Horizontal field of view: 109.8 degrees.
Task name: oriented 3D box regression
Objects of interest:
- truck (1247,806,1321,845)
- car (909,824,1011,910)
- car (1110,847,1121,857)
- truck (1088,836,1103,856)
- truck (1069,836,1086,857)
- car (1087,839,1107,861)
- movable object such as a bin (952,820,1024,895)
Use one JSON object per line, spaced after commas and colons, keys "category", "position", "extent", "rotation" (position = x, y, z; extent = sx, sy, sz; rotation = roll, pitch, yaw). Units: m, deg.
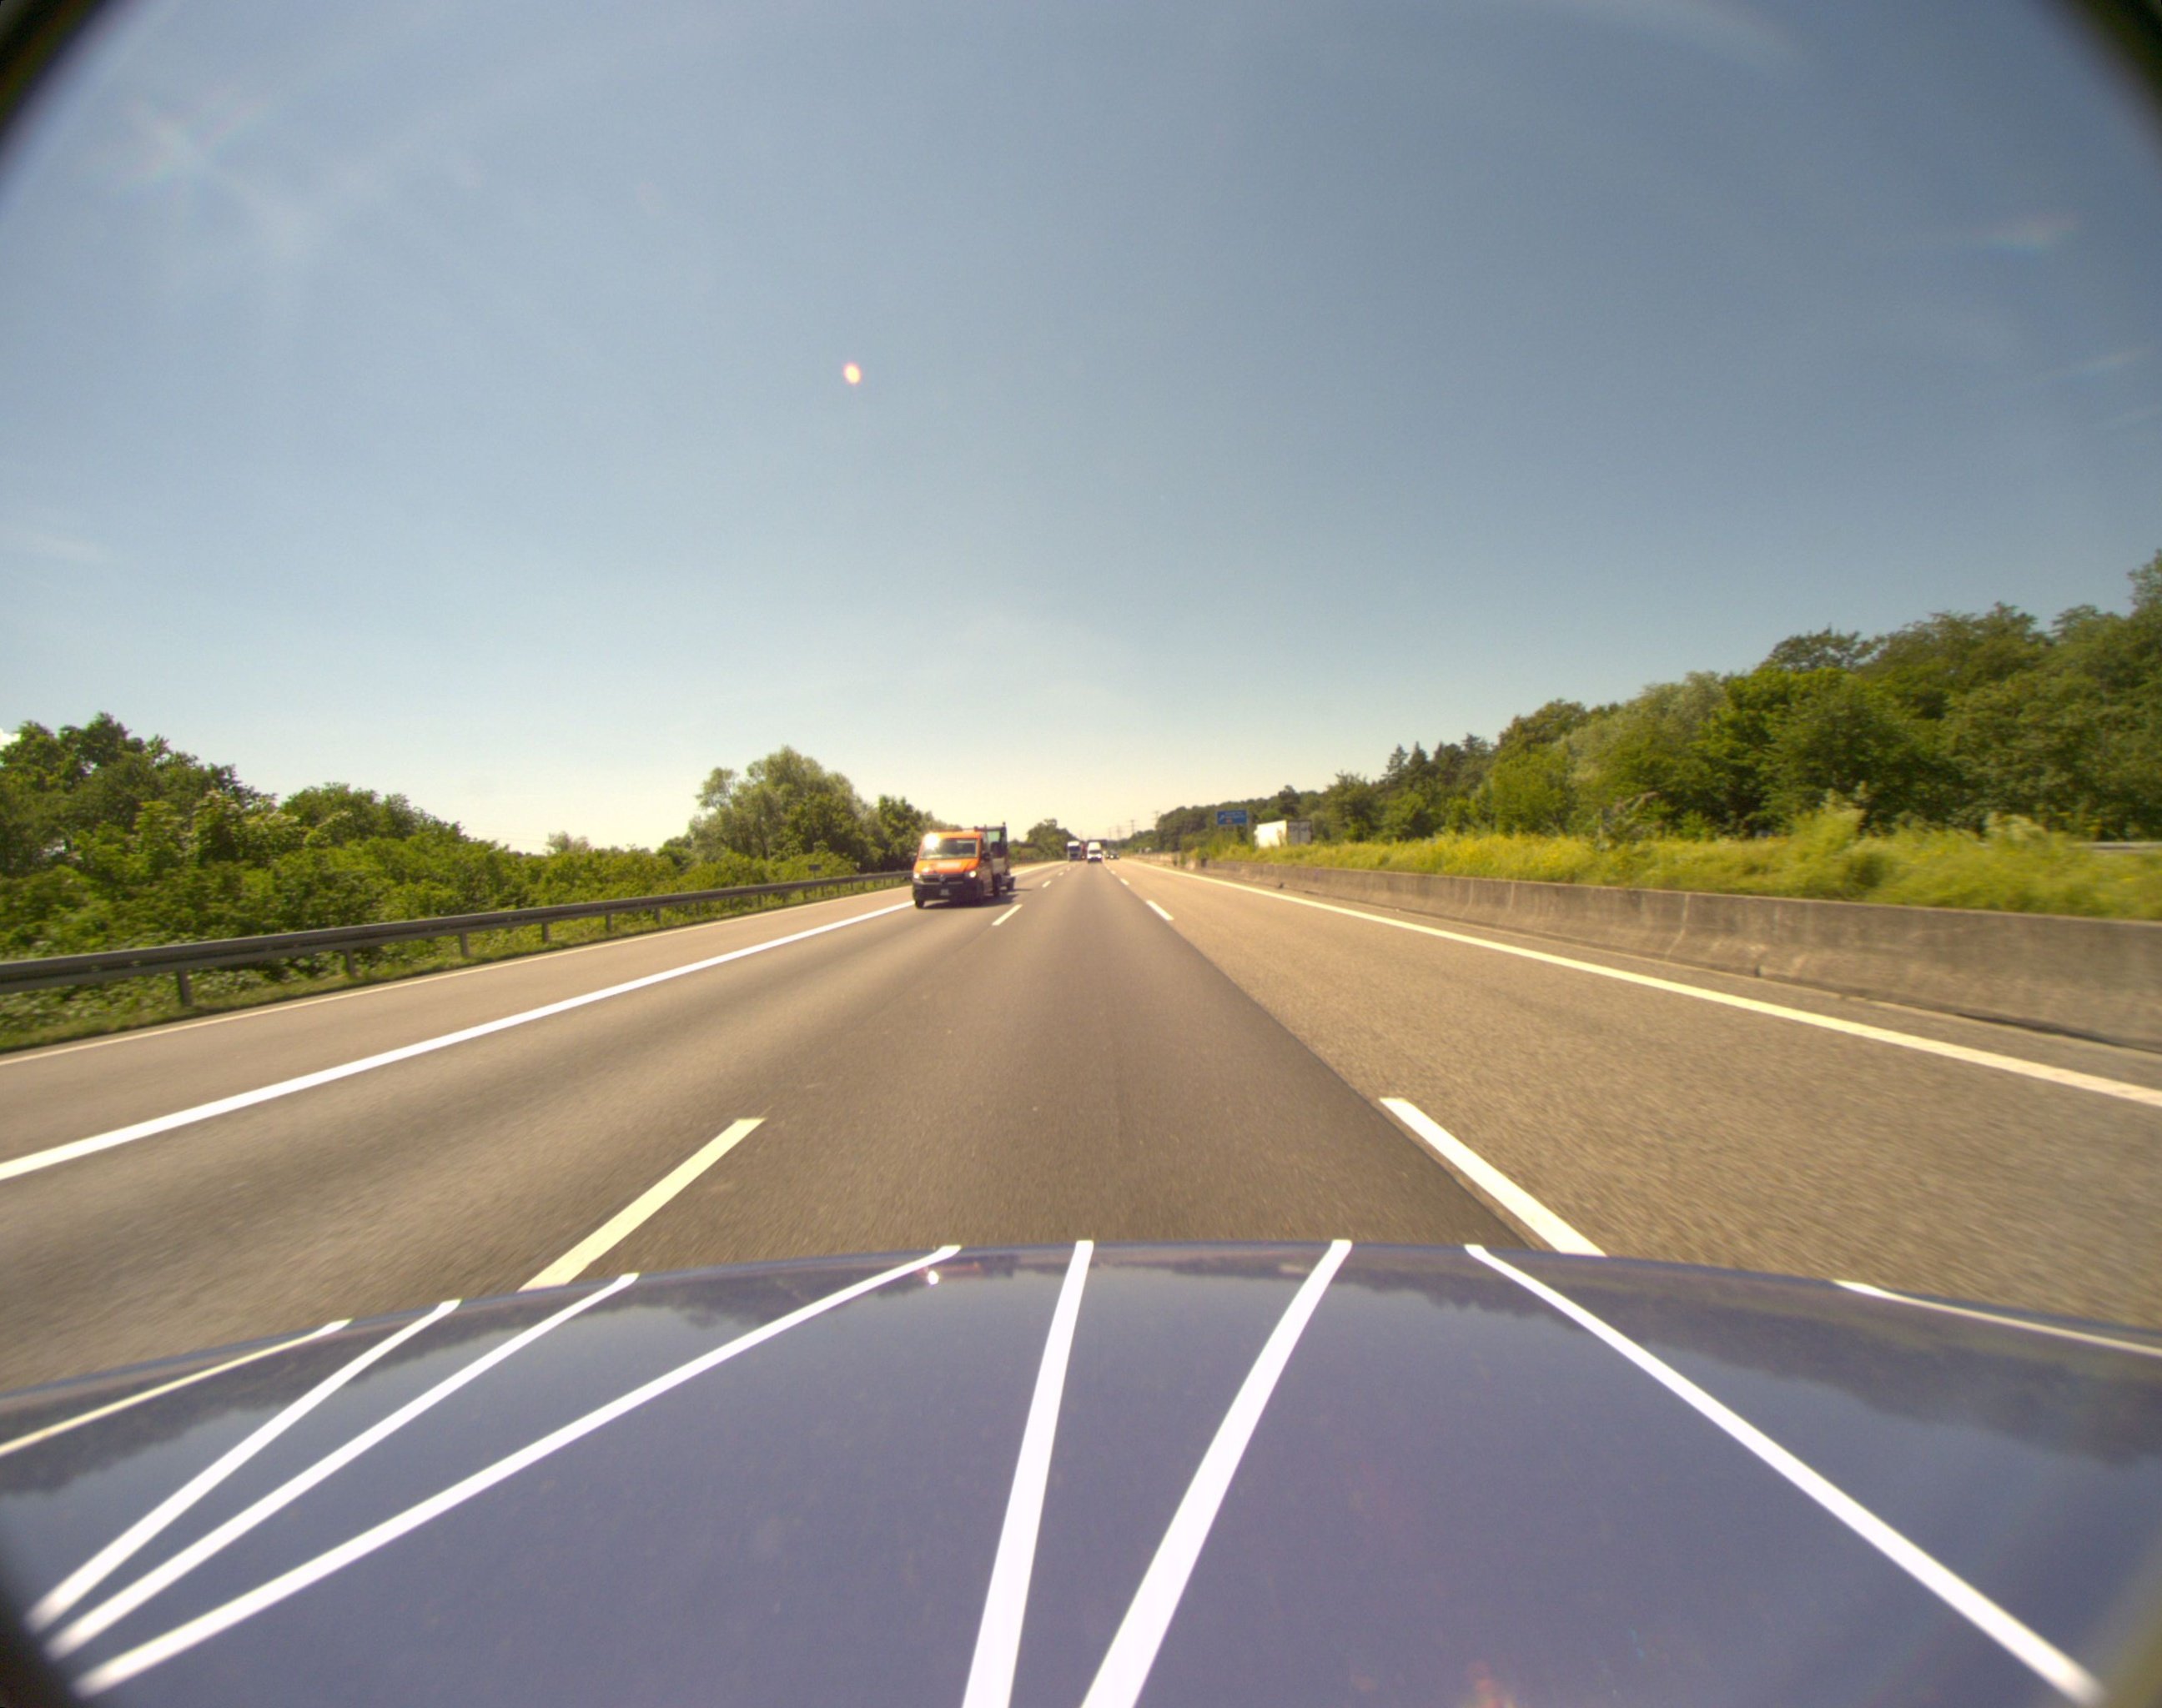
{"category": "truck", "position": [22.575, -2.977, 85.926], "extent": [3.607, 3.713, 17.483], "rotation": [-2, 0, 0]}
{"category": "car", "position": [-3.819, 0.359, 25.492], "extent": [1.998, 2.391, 7.226], "rotation": [-2, 0, 2]}
{"category": "car", "position": [7.290, -0.404, 160.968], "extent": [1.998, 2.002, 4.000], "rotation": [-2, 0, 0]}
{"category": "truck", "position": [3.308, -1.713, 170.053], "extent": [2.700, 4.231, 8.244], "rotation": [-5, 0, 3]}
{"category": "truck", "position": [-0.691, -1.494, 161.299], "extent": [2.990, 4.187, 7.594], "rotation": [-3, 0, 3]}
{"category": "car", "position": [2.286, -0.573, 107.125], "extent": [2.521, 2.857, 6.401], "rotation": [-5, 0, 3]}
{"category": "movable object such as a bin", "position": [-3.740, 0.117, 31.554], "extent": [2.179, 2.799, 4.761], "rotation": [-2, 0, 2]}
